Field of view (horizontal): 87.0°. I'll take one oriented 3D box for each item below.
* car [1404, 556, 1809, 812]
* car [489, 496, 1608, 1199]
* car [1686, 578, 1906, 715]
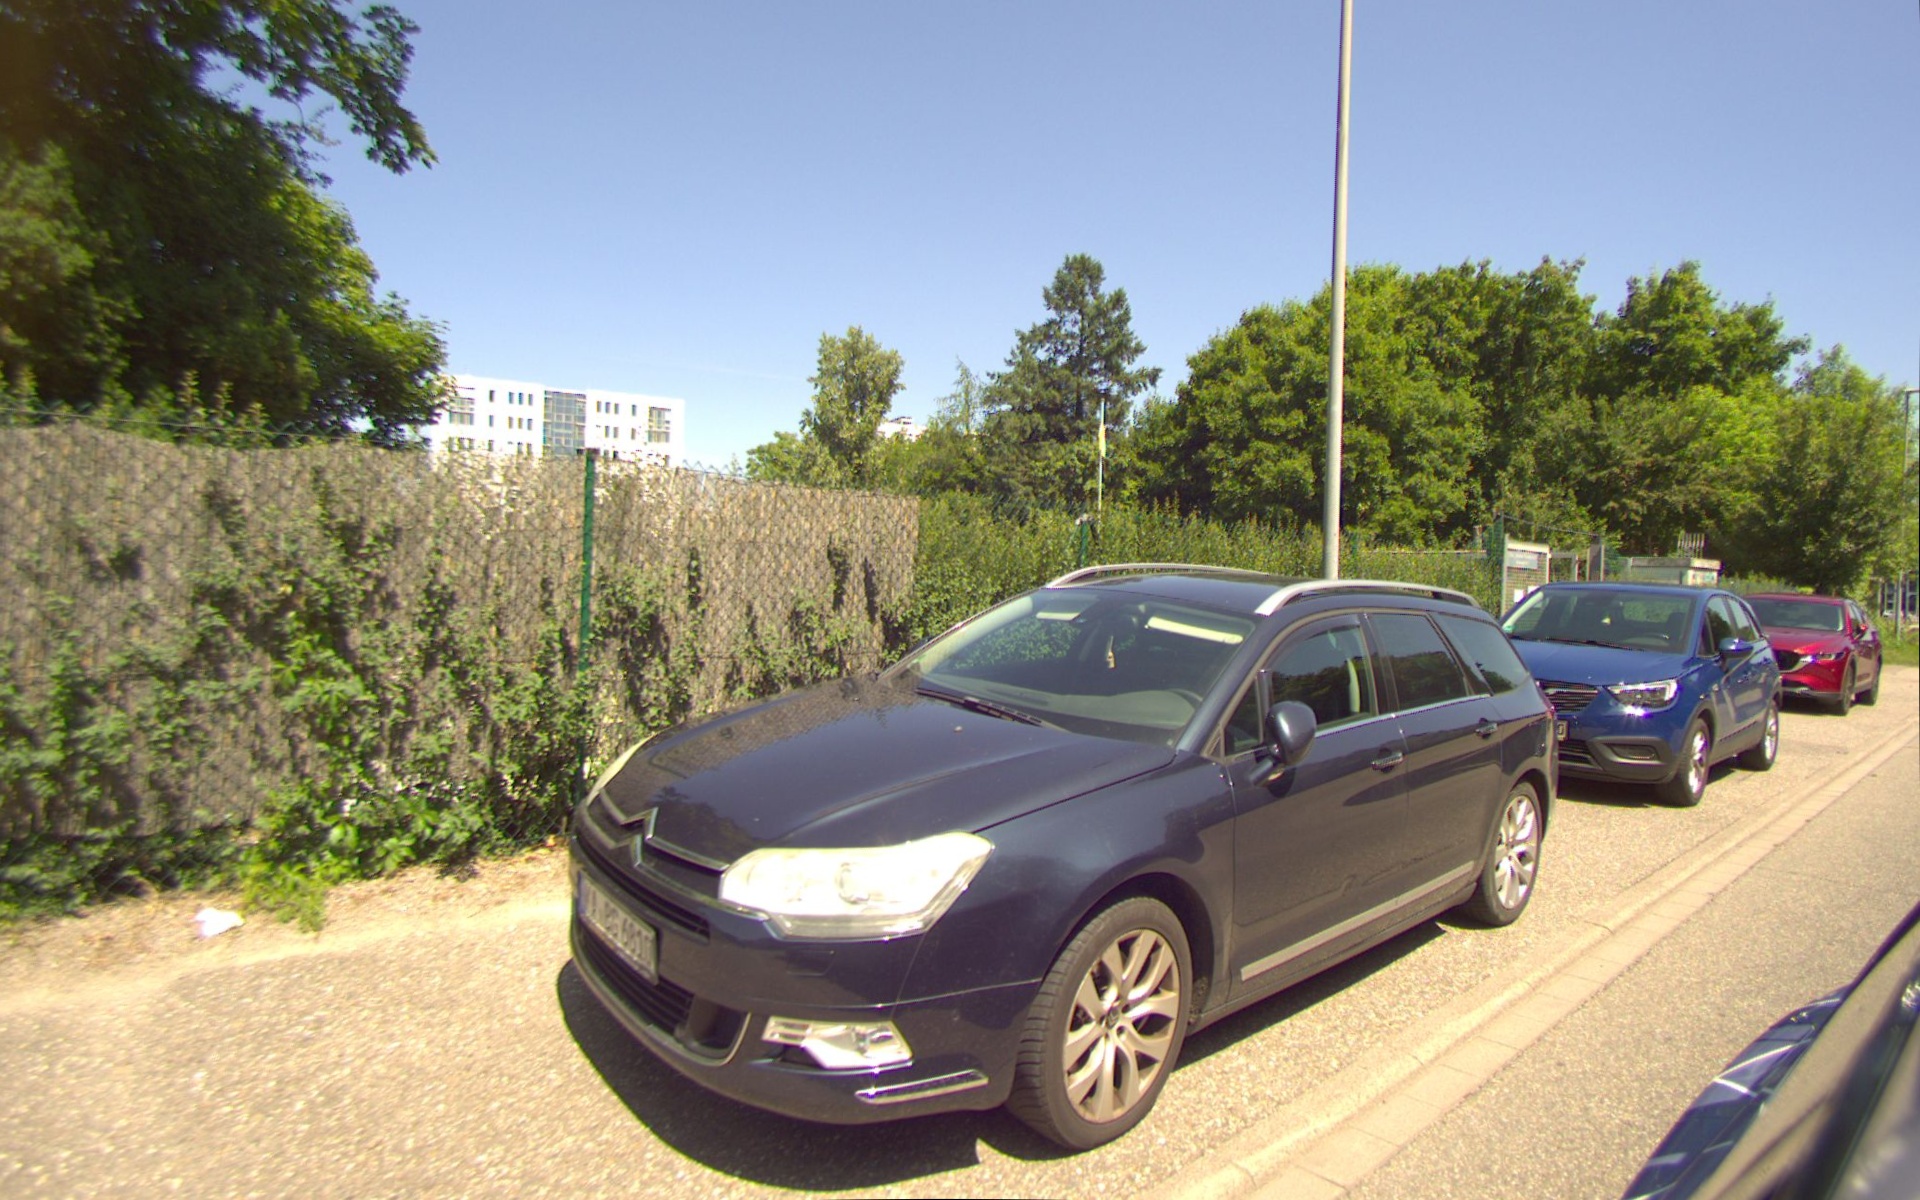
[{"bbox_3d":[5.569,0.543,8.510,4.058,1.623,1.792,1,1,-42],"label":"car"},{"bbox_3d":[0.811,0.515,4.094,4.584,1.499,1.793,1,4,-42],"label":"car"},{"bbox_3d":[12.749,0.613,15.343,4.374,1.678,1.794,1,4,-41],"label":"car"}]
